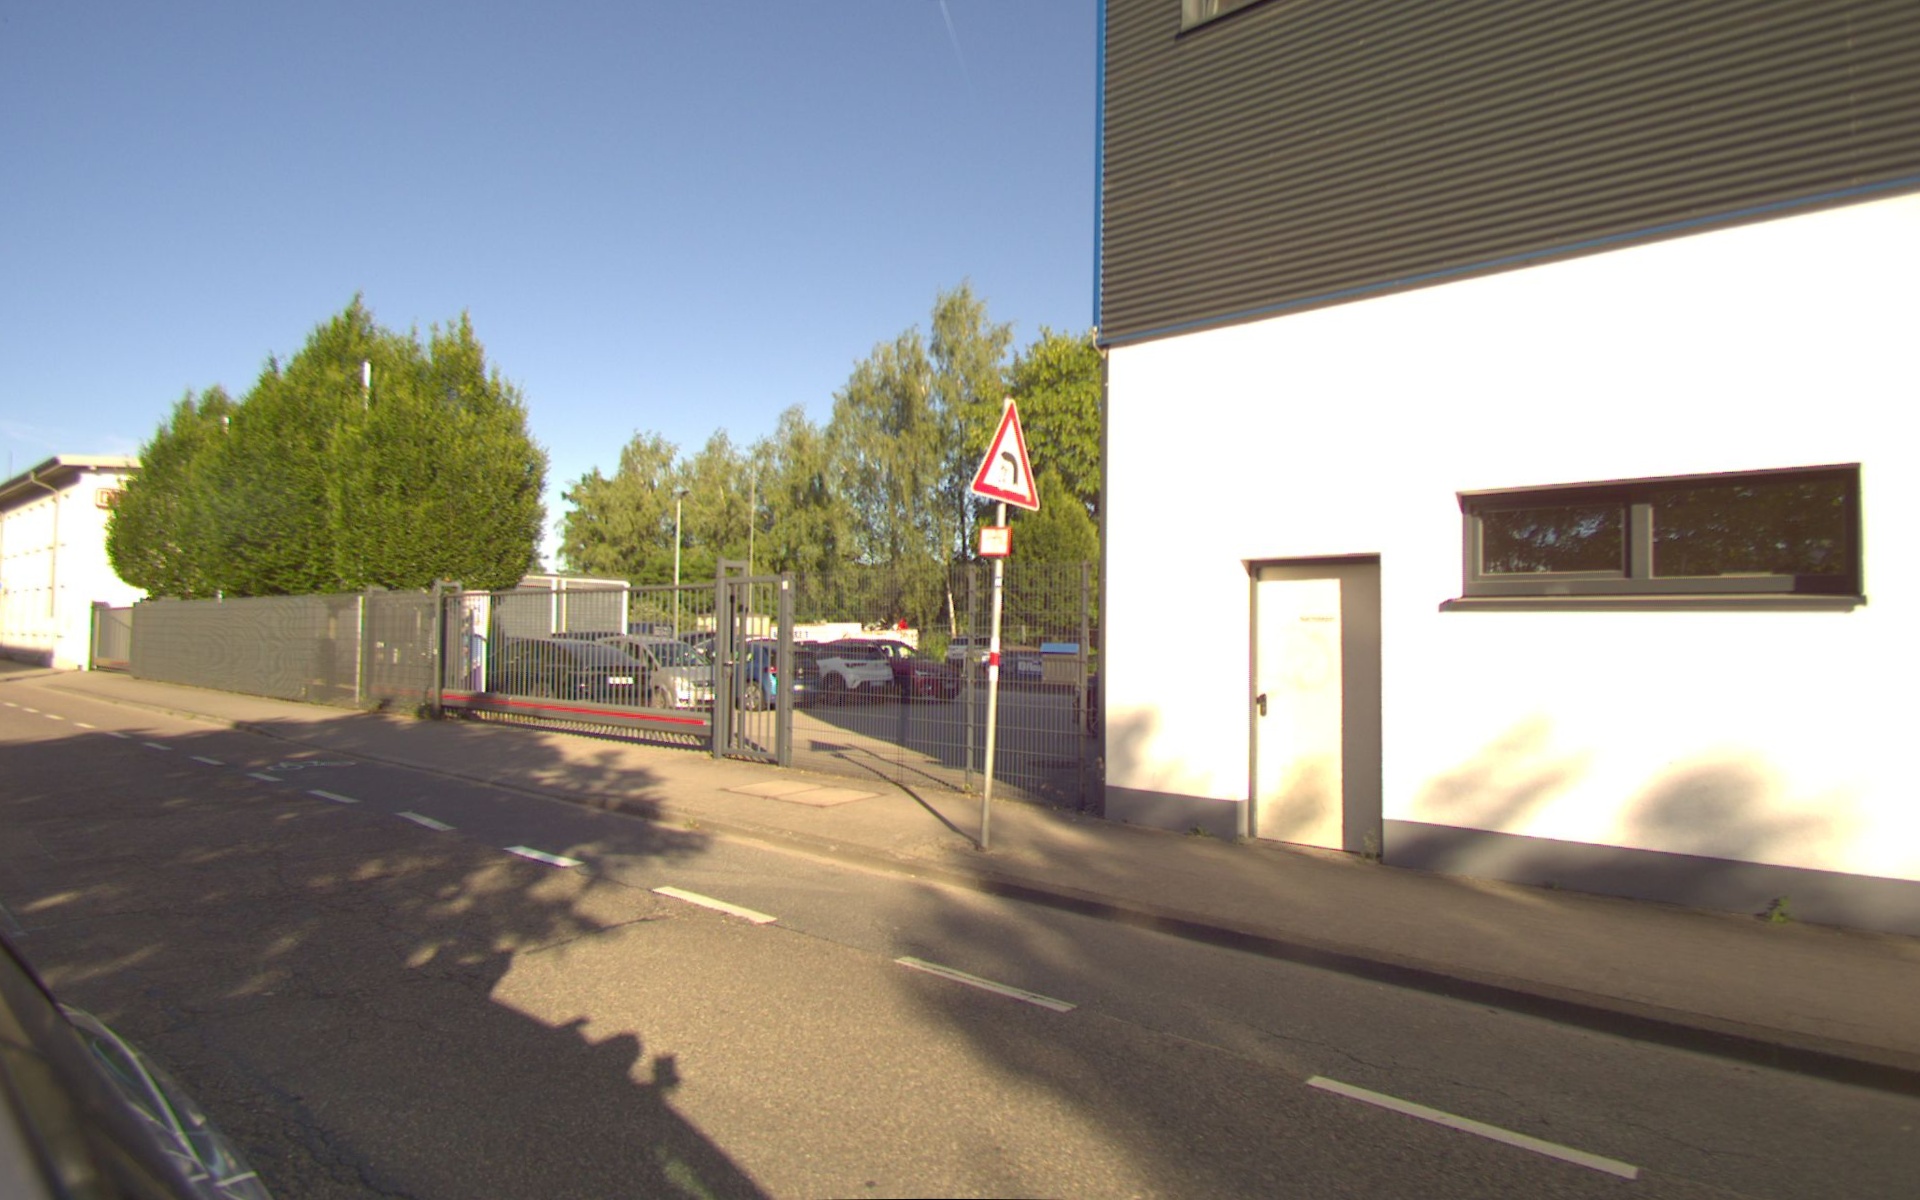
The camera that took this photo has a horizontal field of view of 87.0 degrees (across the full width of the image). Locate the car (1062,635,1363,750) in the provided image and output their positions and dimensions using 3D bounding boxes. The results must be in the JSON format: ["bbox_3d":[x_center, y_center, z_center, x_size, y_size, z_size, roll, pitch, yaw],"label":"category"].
[{"bbox_3d":[3.860,1.408,15.809,4.172,1.552,1.851,-3,-5,37],"label":"car"}]

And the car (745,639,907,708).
[{"bbox_3d":[-3.496,1.861,26.120,3.994,1.603,1.851,-1,-4,38],"label":"car"}]

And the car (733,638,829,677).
[{"bbox_3d":[-7.276,2.300,41.046,3.999,1.468,1.757,-1,-3,42],"label":"car"}]

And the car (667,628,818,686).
[{"bbox_3d":[-6.252,1.663,29.376,1.874,1.552,3.947,-1,-4,39],"label":"car"}]

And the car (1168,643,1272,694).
[{"bbox_3d":[9.203,2.420,35.618,1.875,1.663,4.145,-2,-4,41],"label":"car"}]

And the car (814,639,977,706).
[{"bbox_3d":[-1.801,1.947,27.699,4.196,1.663,1.943,-1,-4,38],"label":"car"}]

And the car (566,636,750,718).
[{"bbox_3d":[-6.644,1.629,22.130,3.994,1.618,1.851,-1,-4,38],"label":"car"}]

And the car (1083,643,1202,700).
[{"bbox_3d":[5.871,2.263,32.228,1.875,1.663,4.145,-2,-4,41],"label":"car"}]

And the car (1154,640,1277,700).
[{"bbox_3d":[7.740,2.103,30.398,2.008,1.663,4.218,-1,-4,39],"label":"car"}]

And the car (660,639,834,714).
[{"bbox_3d":[-5.067,1.754,23.896,3.994,1.589,1.851,-1,-4,38],"label":"car"}]

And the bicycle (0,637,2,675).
[{"bbox_3d":[-26.833,1.646,27.600,2.169,1.298,0.661,-1,-3,38],"label":"bicycle"}]

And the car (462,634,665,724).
[{"bbox_3d":[-7.760,1.487,19.700,3.994,1.552,1.851,-1,-4,38],"label":"car"}]
